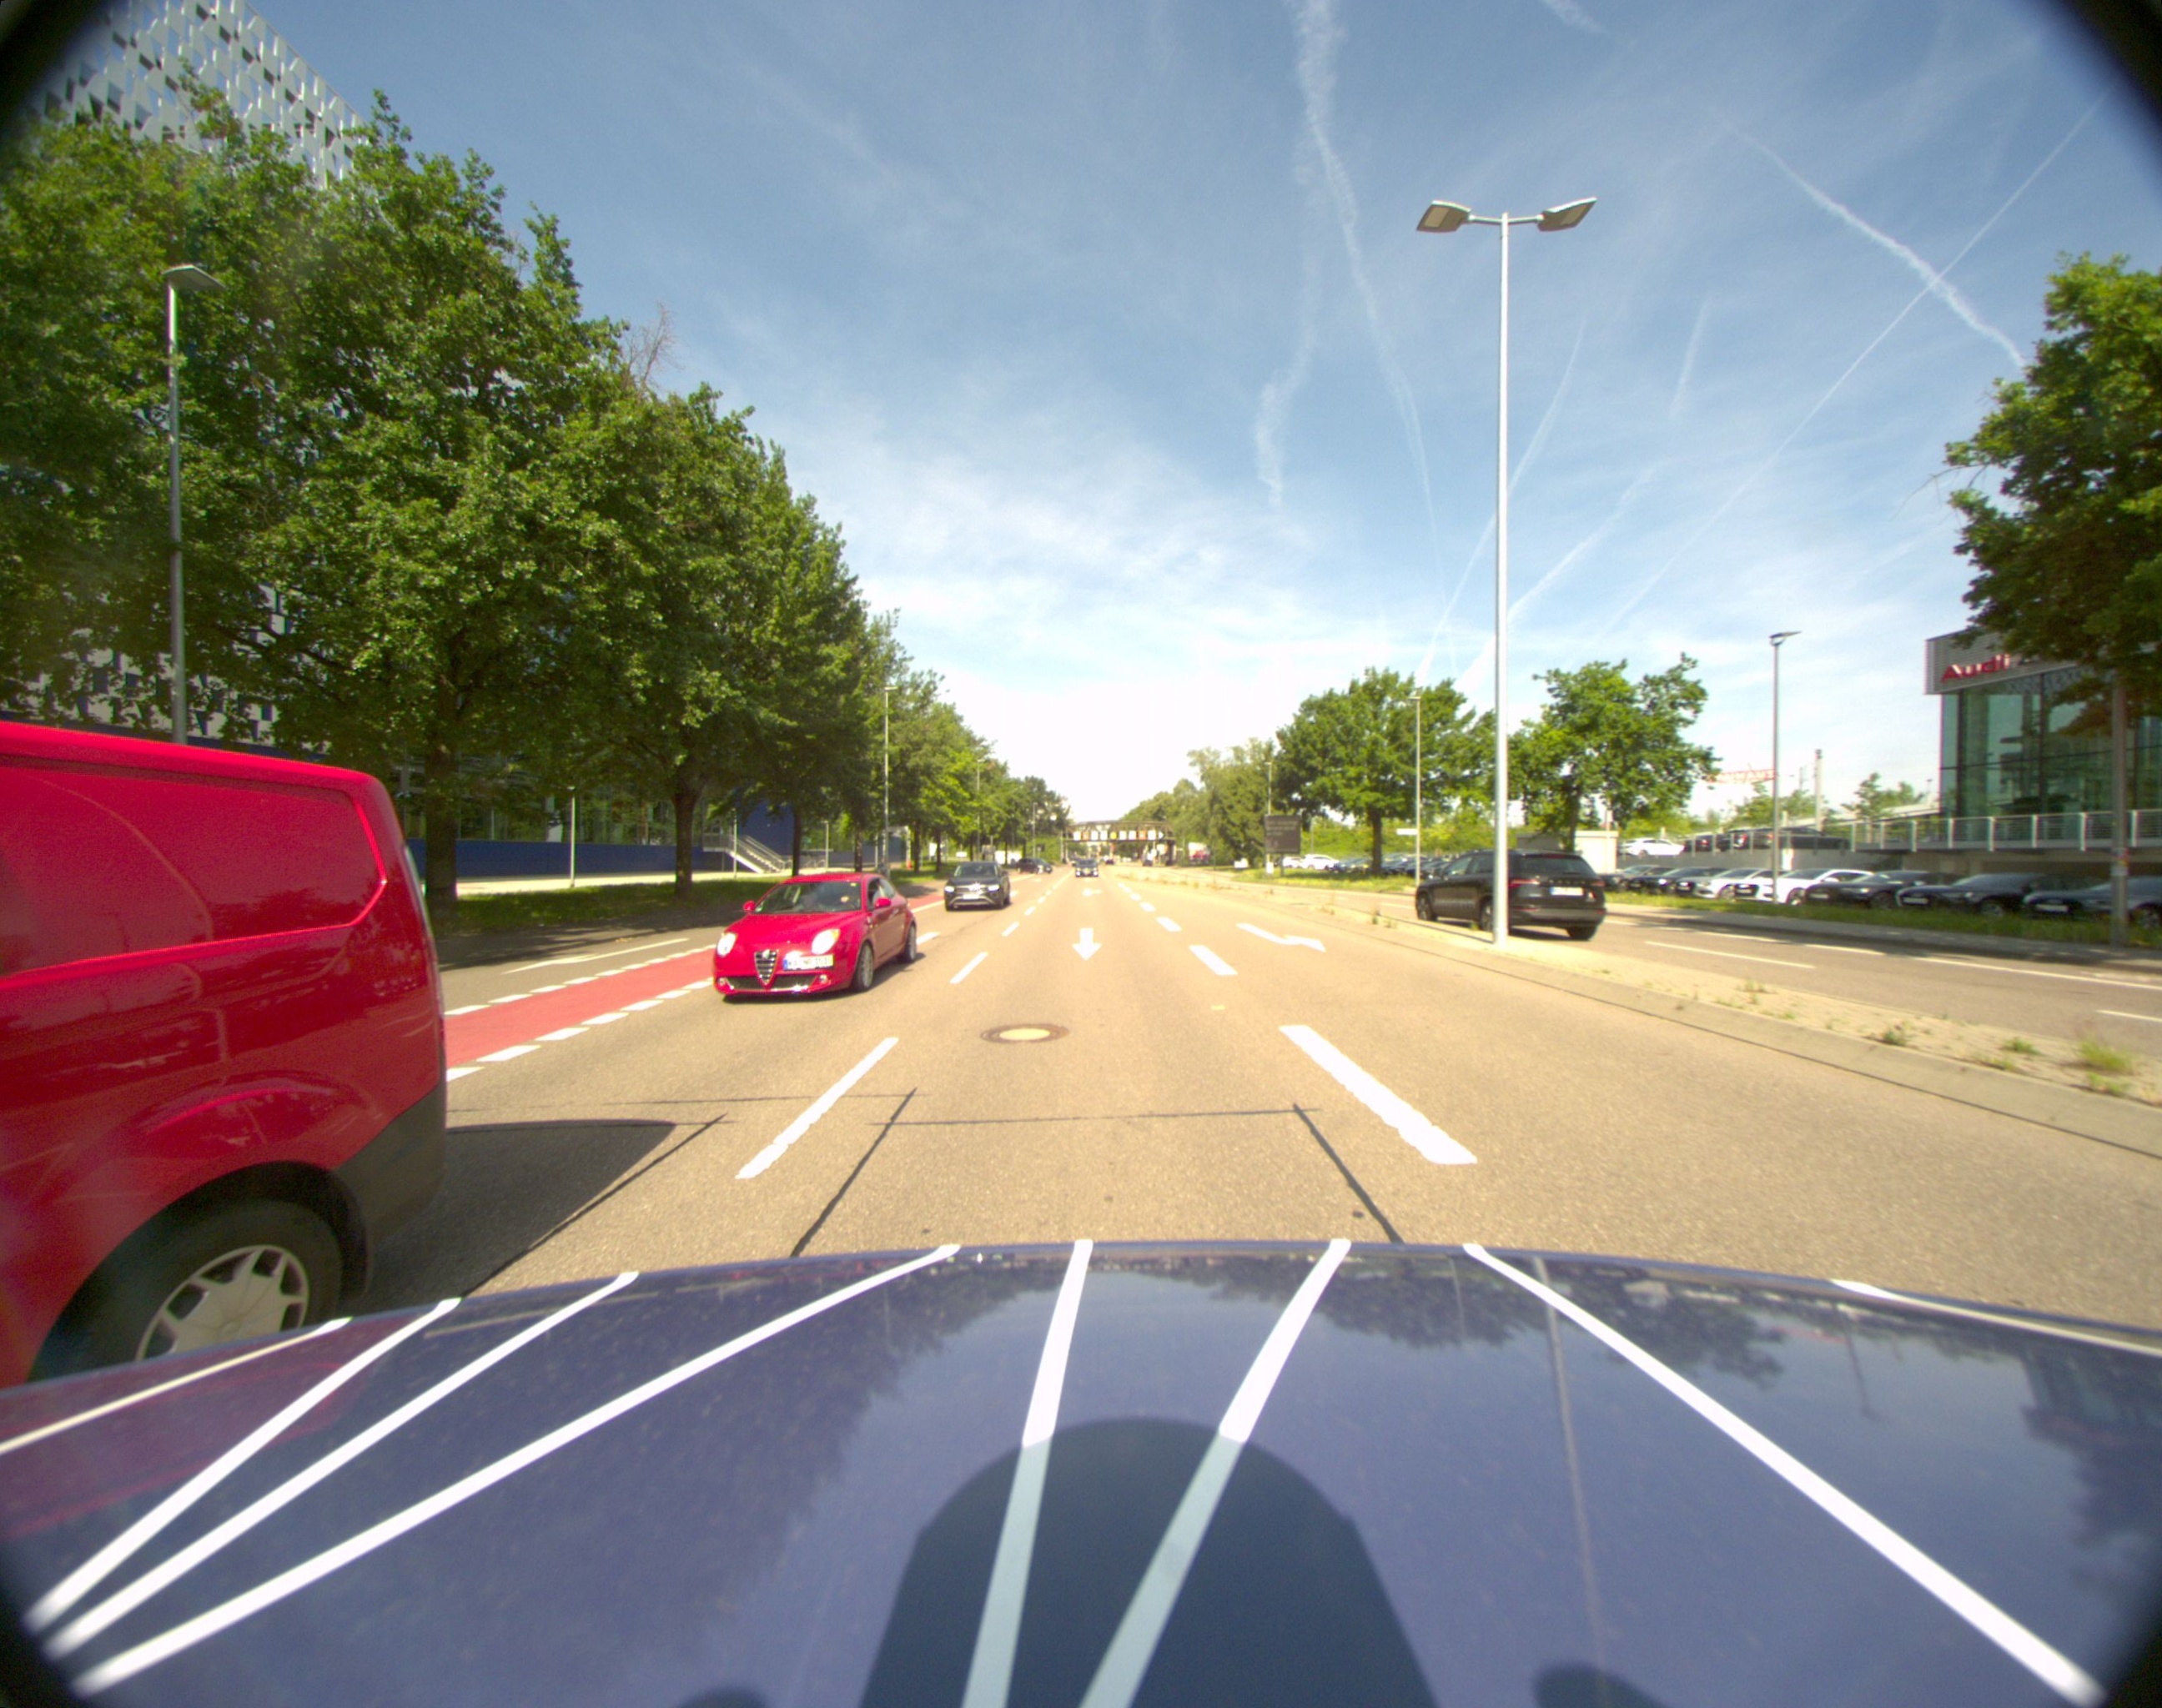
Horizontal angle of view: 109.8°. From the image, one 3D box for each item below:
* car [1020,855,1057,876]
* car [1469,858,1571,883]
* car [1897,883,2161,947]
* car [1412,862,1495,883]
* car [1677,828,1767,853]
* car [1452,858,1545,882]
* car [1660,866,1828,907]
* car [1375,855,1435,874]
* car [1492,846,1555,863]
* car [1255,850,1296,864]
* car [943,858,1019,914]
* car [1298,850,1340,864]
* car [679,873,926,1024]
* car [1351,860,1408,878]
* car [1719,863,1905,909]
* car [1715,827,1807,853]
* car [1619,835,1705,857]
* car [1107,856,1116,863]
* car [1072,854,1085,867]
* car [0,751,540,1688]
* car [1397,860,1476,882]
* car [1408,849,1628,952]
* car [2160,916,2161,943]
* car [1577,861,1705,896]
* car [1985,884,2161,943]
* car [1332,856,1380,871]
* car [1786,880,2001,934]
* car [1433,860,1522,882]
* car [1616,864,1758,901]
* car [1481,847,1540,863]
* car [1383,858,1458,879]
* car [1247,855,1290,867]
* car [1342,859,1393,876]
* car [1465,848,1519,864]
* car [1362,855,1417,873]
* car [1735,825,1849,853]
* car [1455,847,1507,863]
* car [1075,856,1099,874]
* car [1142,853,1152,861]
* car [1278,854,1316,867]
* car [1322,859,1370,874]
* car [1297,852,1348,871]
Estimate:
[{"bbox_3d":[-4.305,1.139,75.800,2.003,2.002,3.990,-1,0,-32],"label":"car"},{"bbox_3d":[24.369,0.886,42.270,4.511,1.282,2.004,1,0,-1],"label":"car"},{"bbox_3d":[23.424,1.471,18.886,4.185,1.183,1.955,4,0,-1],"label":"car"},{"bbox_3d":[24.407,1.205,49.837,4.511,1.282,1.919,1,0,-1],"label":"car"},{"bbox_3d":[40.510,-0.836,48.087,3.997,1.487,2.051,-1,0,0],"label":"car"},{"bbox_3d":[24.358,0.918,44.427,4.511,1.282,1.691,1,0,-1],"label":"car"},{"bbox_3d":[23.717,1.149,27.302,4.185,1.149,2.087,4,0,-1],"label":"car"},{"bbox_3d":[24.536,0.809,57.663,3.689,1.277,1.985,2,0,-1],"label":"car"},{"bbox_3d":[40.032,0.068,68.831,4.511,1.476,1.979,1,0,-1],"label":"car"},{"bbox_3d":[22.822,0.300,89.221,4.224,1.537,2.000,-1,0,0],"label":"car"},{"bbox_3d":[-3.174,0.976,24.955,1.824,1.632,4.112,-1,0,2],"label":"car"},{"bbox_3d":[25.450,0.317,81.404,3.996,1.477,1.848,-1,0,4],"label":"car"},{"bbox_3d":[-3.358,1.053,10.059,1.798,1.446,3.978,-1,1,0],"label":"car"},{"bbox_3d":[24.570,1.202,62.649,3.897,1.332,1.840,2,0,-1],"label":"car"},{"bbox_3d":[23.683,1.017,24.736,4.185,1.183,1.955,4,0,-1],"label":"car"},{"bbox_3d":[40.482,-0.816,45.309,3.997,1.487,1.668,-1,0,0],"label":"car"},{"bbox_3d":[40.716,-0.570,53.314,4.511,1.476,1.979,1,0,-1],"label":"car"},{"bbox_3d":[6.580,1.141,166.013,1.785,1.438,4.120,1,1,1],"label":"car"},{"bbox_3d":[-0.340,1.009,123.321,1.998,2.002,4.000,-1,0,0],"label":"car"},{"bbox_3d":[-3.265,0.780,0.574,1.972,1.956,5.125,-1,0,0],"label":"car"},{"bbox_3d":[24.544,1.158,52.537,4.511,1.467,1.919,1,0,-1],"label":"car"},{"bbox_3d":[8.049,0.756,14.524,1.742,1.609,4.209,3,0,1],"label":"car"},{"bbox_3d":[23.146,1.357,14.017,4.119,1.028,1.697,4,0,-1],"label":"car"},{"bbox_3d":[23.696,1.016,32.255,3.997,1.149,1.897,4,0,-1],"label":"car"},{"bbox_3d":[23.209,1.354,16.784,4.185,1.071,1.955,4,0,-1],"label":"car"},{"bbox_3d":[24.519,0.841,67.907,3.603,1.277,1.744,2,0,-1],"label":"car"},{"bbox_3d":[23.497,1.510,22.095,4.185,1.183,1.955,4,0,-1],"label":"car"},{"bbox_3d":[24.486,1.058,47.049,4.511,1.282,1.919,1,0,-1],"label":"car"},{"bbox_3d":[23.612,1.095,29.707,3.997,1.149,1.897,4,0,-1],"label":"car"},{"bbox_3d":[40.402,0.097,71.480,4.511,1.410,1.890,-1,0,-1],"label":"car"},{"bbox_3d":[24.567,1.048,55.059,4.511,1.467,1.979,1,0,-1],"label":"car"},{"bbox_3d":[22.728,0.847,92.248,4.698,1.381,2.000,-1,0,0],"label":"car"},{"bbox_3d":[24.613,1.130,65.334,3.752,1.277,1.663,2,0,-1],"label":"car"},{"bbox_3d":[40.146,0.185,74.347,4.213,1.468,1.999,-1,0,-3],"label":"car"},{"bbox_3d":[24.495,0.775,60.434,3.603,1.277,1.865,2,0,-1],"label":"car"},{"bbox_3d":[39.908,-0.819,42.737,4.531,1.487,1.986,-1,0,0],"label":"car"},{"bbox_3d":[40.498,0.106,76.915,4.213,1.468,1.999,-1,0,-3],"label":"car"},{"bbox_3d":[0.492,0.861,61.720,1.888,1.427,4.000,-1,0,1],"label":"car"},{"bbox_3d":[13.838,0.571,159.259,1.998,1.608,4.105,2,0,5],"label":"car"},{"bbox_3d":[23.802,0.681,83.755,3.689,1.363,1.816,-1,0,0],"label":"car"},{"bbox_3d":[24.604,1.127,70.573,3.801,1.278,1.744,-1,0,-1],"label":"car"},{"bbox_3d":[24.154,0.729,76.104,4.474,1.864,2.000,-1,0,2],"label":"car"}]
